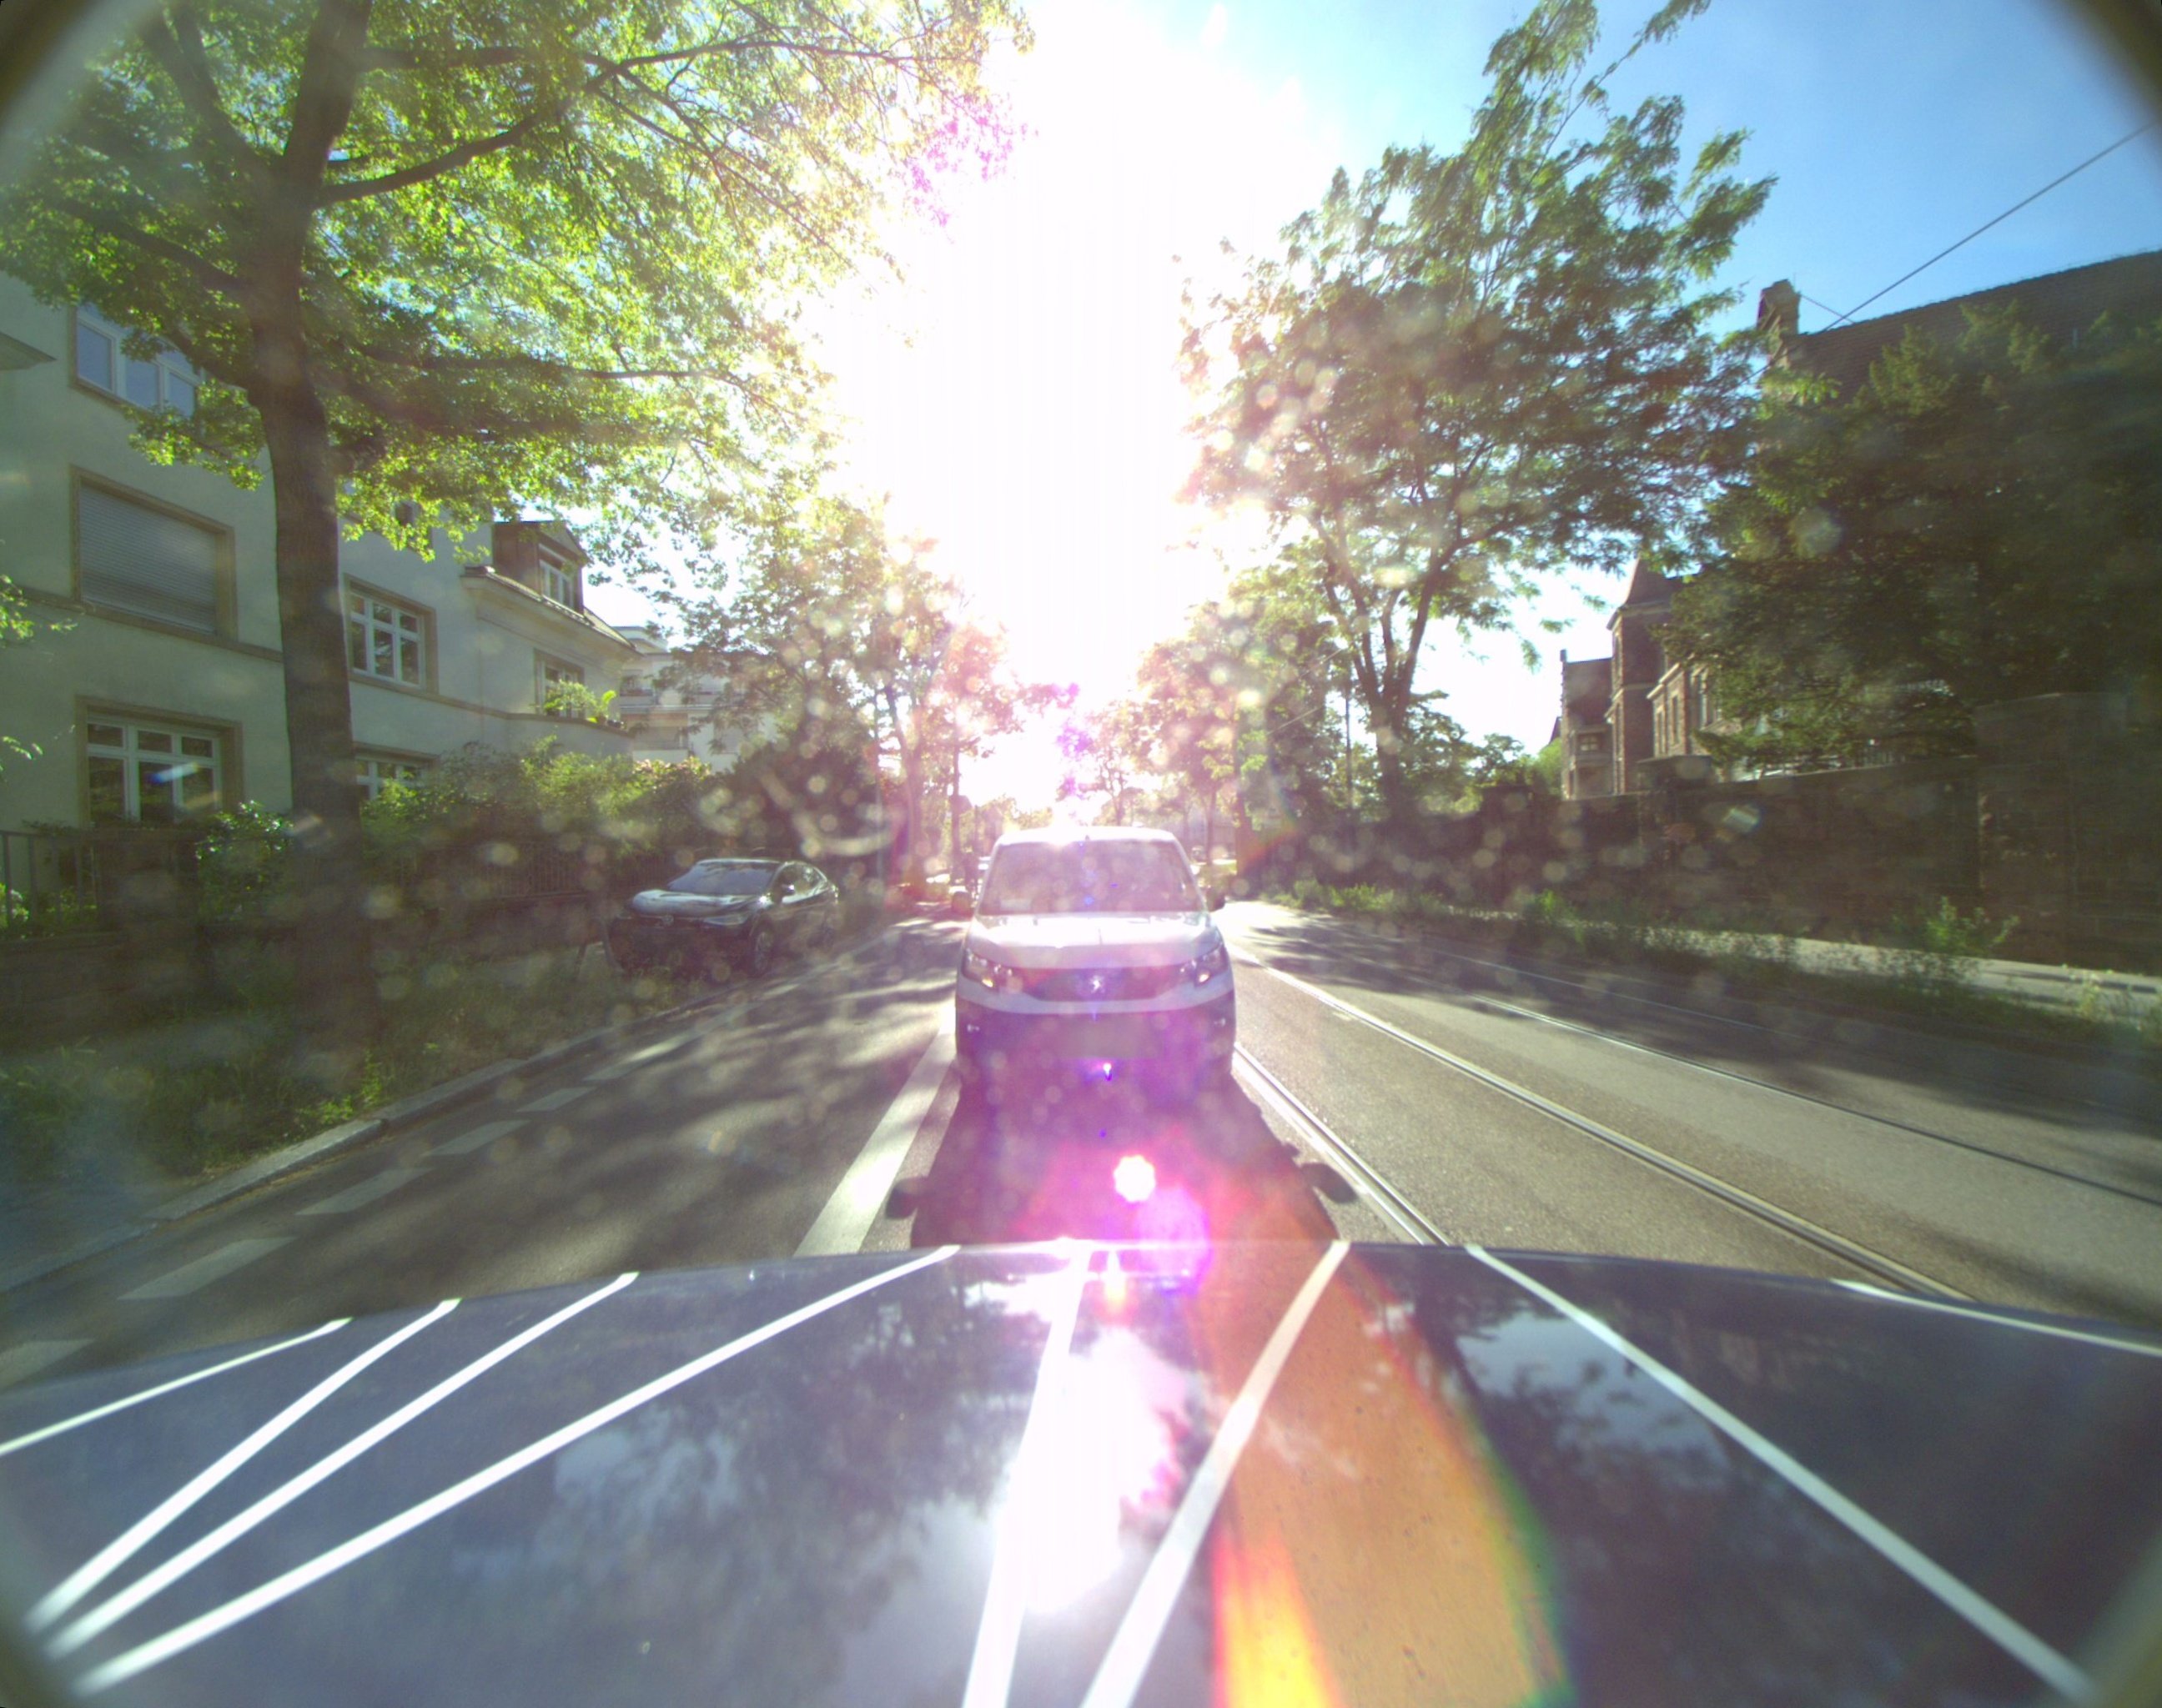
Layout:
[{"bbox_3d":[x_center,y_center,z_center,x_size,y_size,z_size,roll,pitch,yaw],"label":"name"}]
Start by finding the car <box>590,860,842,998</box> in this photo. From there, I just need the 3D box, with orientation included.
[{"bbox_3d":[-5.161,0.941,11.448,1.743,1.597,4.091,2,0,1],"label":"car"}]

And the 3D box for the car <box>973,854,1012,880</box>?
[{"bbox_3d":[-5.253,0.744,45.463,1.787,1.443,4.000,-2,0,1],"label":"car"}]

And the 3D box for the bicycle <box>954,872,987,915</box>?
[{"bbox_3d":[-3.217,1.139,22.250,0.644,1.137,1.902,-1,0,1],"label":"bicycle"}]

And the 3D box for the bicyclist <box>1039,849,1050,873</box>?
[{"bbox_3d":[-2.311,0.442,48.172,0.623,1.479,1.115,-2,1,1],"label":"bicyclist"}]

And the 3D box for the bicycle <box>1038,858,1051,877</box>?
[{"bbox_3d":[-2.297,0.852,48.164,0.644,1.137,1.815,-1,0,1],"label":"bicycle"}]

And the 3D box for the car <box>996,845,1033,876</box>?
[{"bbox_3d":[-4.501,0.421,51.929,1.998,2.002,4.583,-2,0,1],"label":"car"}]

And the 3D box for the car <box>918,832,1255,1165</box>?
[{"bbox_3d":[0.047,0.782,6.536,1.793,1.770,4.786,-2,0,0],"label":"car"}]

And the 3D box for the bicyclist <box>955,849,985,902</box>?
[{"bbox_3d":[-3.238,0.614,22.241,0.645,1.479,1.115,-2,1,1],"label":"bicyclist"}]
